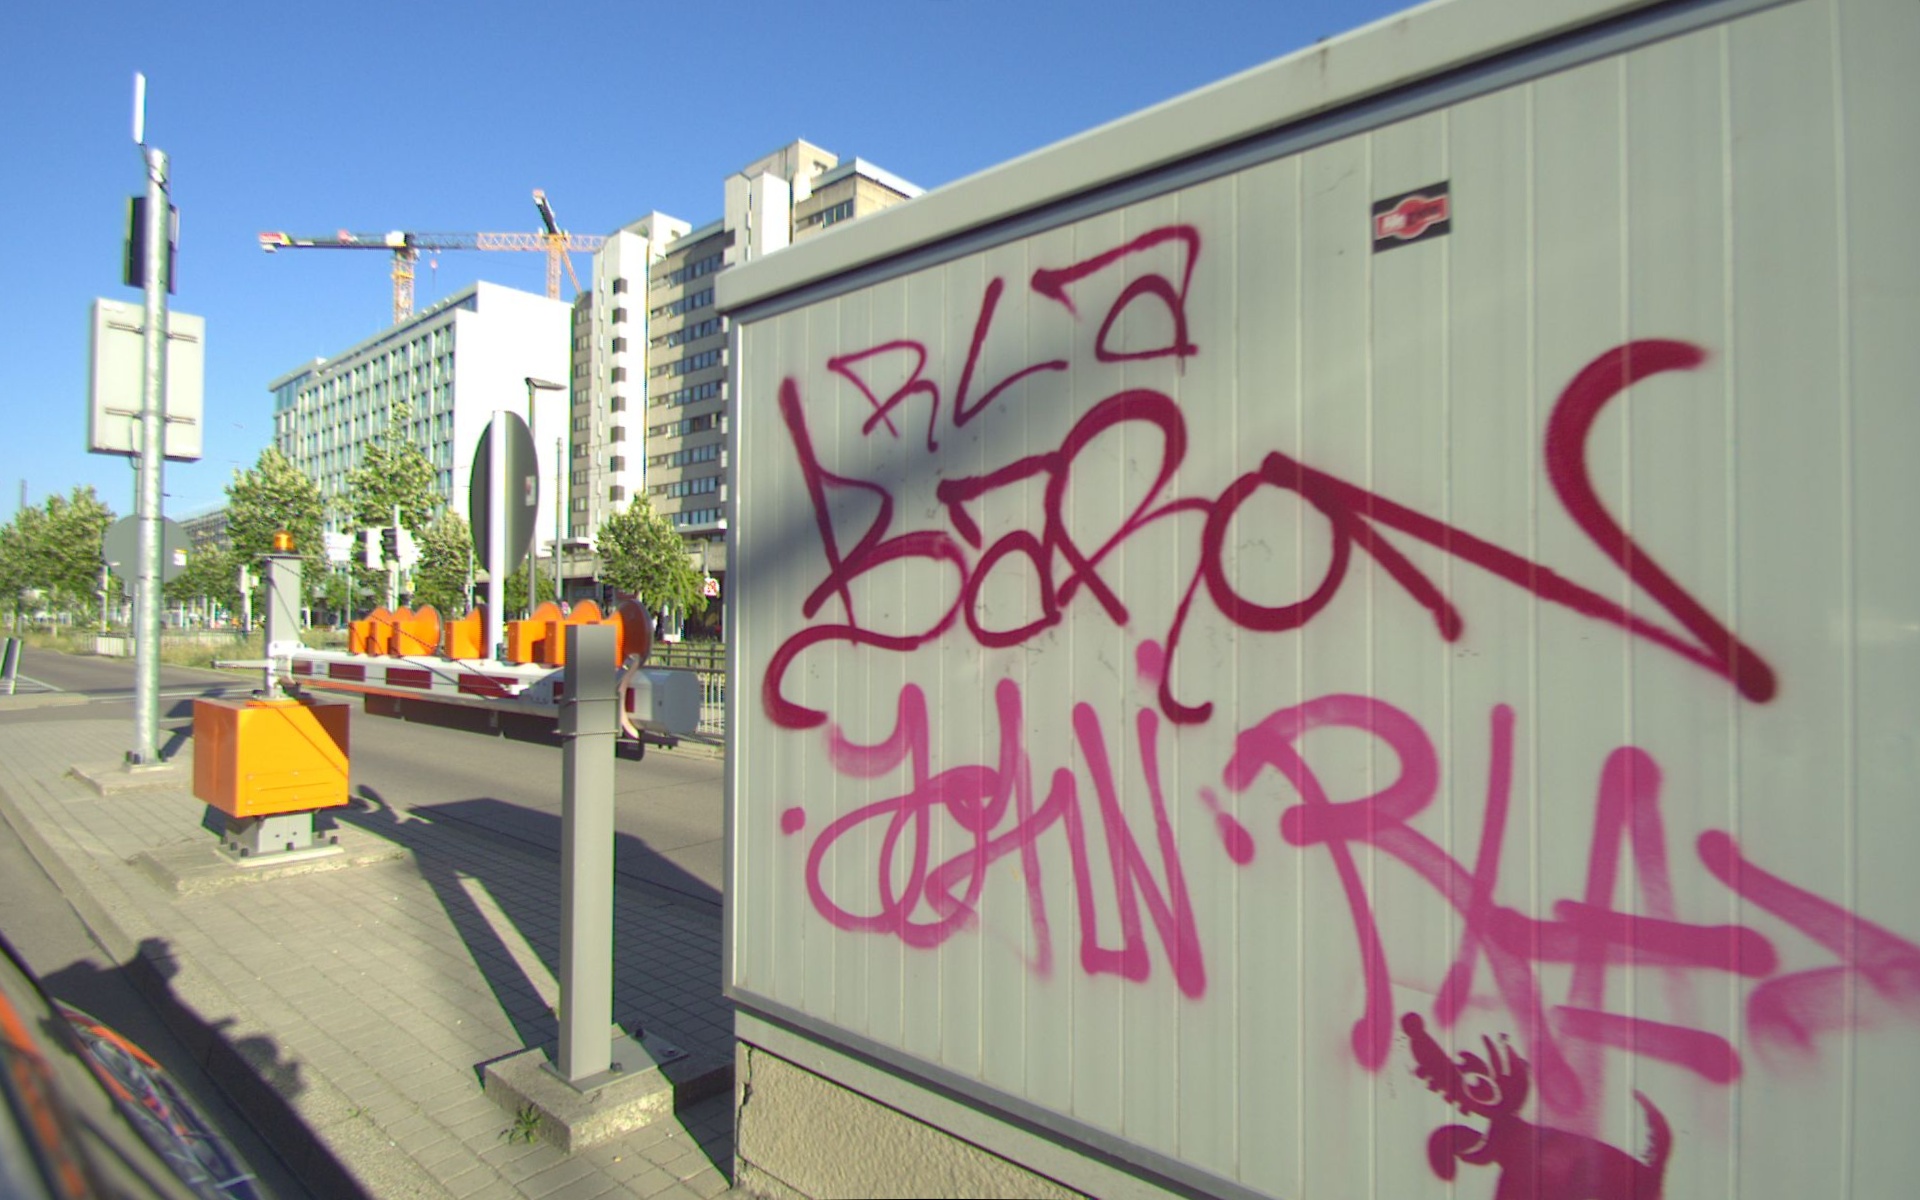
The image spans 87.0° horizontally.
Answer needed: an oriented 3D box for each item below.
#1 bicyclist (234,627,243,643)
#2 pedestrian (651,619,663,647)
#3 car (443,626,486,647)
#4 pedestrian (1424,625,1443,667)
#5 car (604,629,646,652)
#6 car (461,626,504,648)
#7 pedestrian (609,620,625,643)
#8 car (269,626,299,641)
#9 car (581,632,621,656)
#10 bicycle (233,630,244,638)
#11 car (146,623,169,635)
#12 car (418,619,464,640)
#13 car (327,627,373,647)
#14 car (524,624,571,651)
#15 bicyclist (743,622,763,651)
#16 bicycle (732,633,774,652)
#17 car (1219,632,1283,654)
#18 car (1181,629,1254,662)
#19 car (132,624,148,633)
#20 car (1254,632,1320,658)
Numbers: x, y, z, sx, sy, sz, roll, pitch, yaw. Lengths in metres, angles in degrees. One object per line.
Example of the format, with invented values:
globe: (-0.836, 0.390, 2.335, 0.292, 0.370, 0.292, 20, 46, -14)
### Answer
bicyclist: (-79.834, 3.924, 111.989, 0.918, 1.758, 0.551, -1, -2, 40)
pedestrian: (-22.317, 2.429, 74.594, 0.654, 2.029, 0.542, -1, -2, 41)
car: (-39.009, 2.853, 79.738, 1.763, 1.455, 3.805, -1, 0, -4)
pedestrian: (17.590, 1.700, 37.600, 0.520, 1.567, 0.442, -1, -2, 41)
car: (-20.700, 2.491, 62.618, 1.597, 1.283, 3.468, -1, 0, -2)
car: (-36.690, 2.833, 77.887, 1.598, 1.455, 3.795, -1, 0, -2)
pedestrian: (-25.240, 2.316, 74.556, 0.882, 1.652, 0.766, -1, -2, 41)
car: (-71.656, 3.559, 107.214, 3.389, 1.477, 1.850, 0, 0, 42)
car: (-23.861, 2.900, 67.381, 1.597, 1.412, 3.468, -1, 0, -2)
bicycle: (-79.905, 3.811, 112.082, 2.101, 0.869, 0.432, -1, -2, 40)
car: (-113.108, 4.063, 142.626, 4.638, 1.600, 1.850, 0, 0, 42)
car: (-41.968, 2.357, 81.918, 1.597, 1.455, 4.551, -1, 0, -4)
car: (-47.561, 2.857, 78.874, 4.660, 1.474, 1.758, -1, -1, 41)
car: (-29.055, 2.622, 71.372, 1.599, 1.703, 4.196, -1, 0, 1)
bicyclist: (-10.179, 1.773, 49.734, 0.710, 1.405, 0.732, 0, -1, 17)
bicycle: (-10.199, 2.081, 49.832, 2.014, 0.898, 0.504, 0, -1, 18)
car: (21.113, 3.074, 73.432, 4.000, 1.524, 1.972, -1, -2, 43)
car: (12.357, 2.138, 48.433, 1.846, 1.508, 3.945, -1, -2, 41)
car: (-141.475, 4.911, 174.546, 3.878, 1.388, 1.592, 0, 0, 42)
car: (17.655, 2.408, 54.516, 1.999, 1.313, 3.945, -1, -2, 41)
